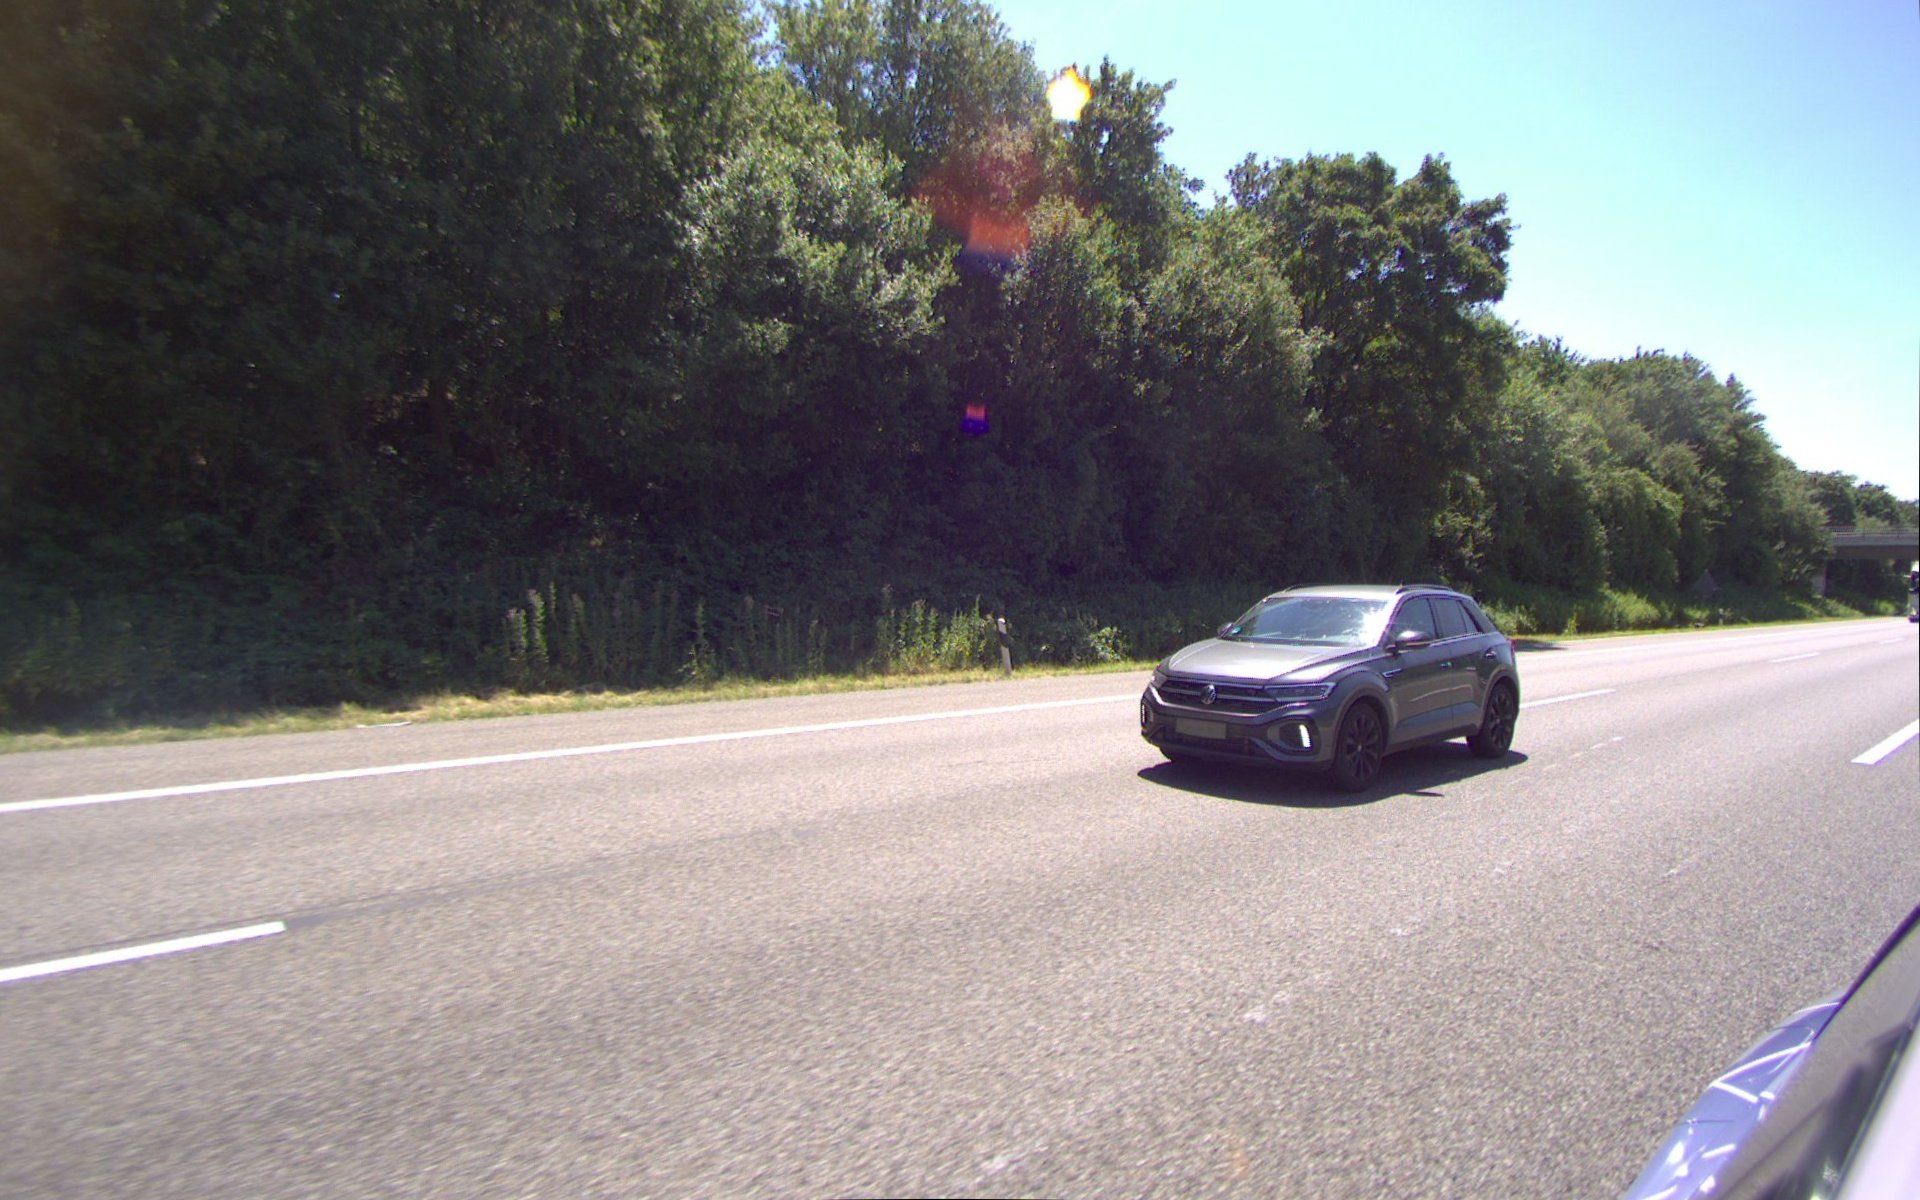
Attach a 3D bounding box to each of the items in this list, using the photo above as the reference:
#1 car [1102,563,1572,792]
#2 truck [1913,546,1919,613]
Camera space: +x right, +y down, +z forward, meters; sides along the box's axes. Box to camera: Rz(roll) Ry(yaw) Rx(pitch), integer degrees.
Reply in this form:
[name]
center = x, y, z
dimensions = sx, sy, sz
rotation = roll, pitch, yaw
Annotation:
[car]
center = 3.567, 0.510, 9.094
dimensions = 4.675, 1.551, 1.903
rotation = 0, 1, -40
[truck]
center = 64.853, -1.302, 66.305
dimensions = 5.944, 4.268, 3.052
rotation = 0, 1, -42
